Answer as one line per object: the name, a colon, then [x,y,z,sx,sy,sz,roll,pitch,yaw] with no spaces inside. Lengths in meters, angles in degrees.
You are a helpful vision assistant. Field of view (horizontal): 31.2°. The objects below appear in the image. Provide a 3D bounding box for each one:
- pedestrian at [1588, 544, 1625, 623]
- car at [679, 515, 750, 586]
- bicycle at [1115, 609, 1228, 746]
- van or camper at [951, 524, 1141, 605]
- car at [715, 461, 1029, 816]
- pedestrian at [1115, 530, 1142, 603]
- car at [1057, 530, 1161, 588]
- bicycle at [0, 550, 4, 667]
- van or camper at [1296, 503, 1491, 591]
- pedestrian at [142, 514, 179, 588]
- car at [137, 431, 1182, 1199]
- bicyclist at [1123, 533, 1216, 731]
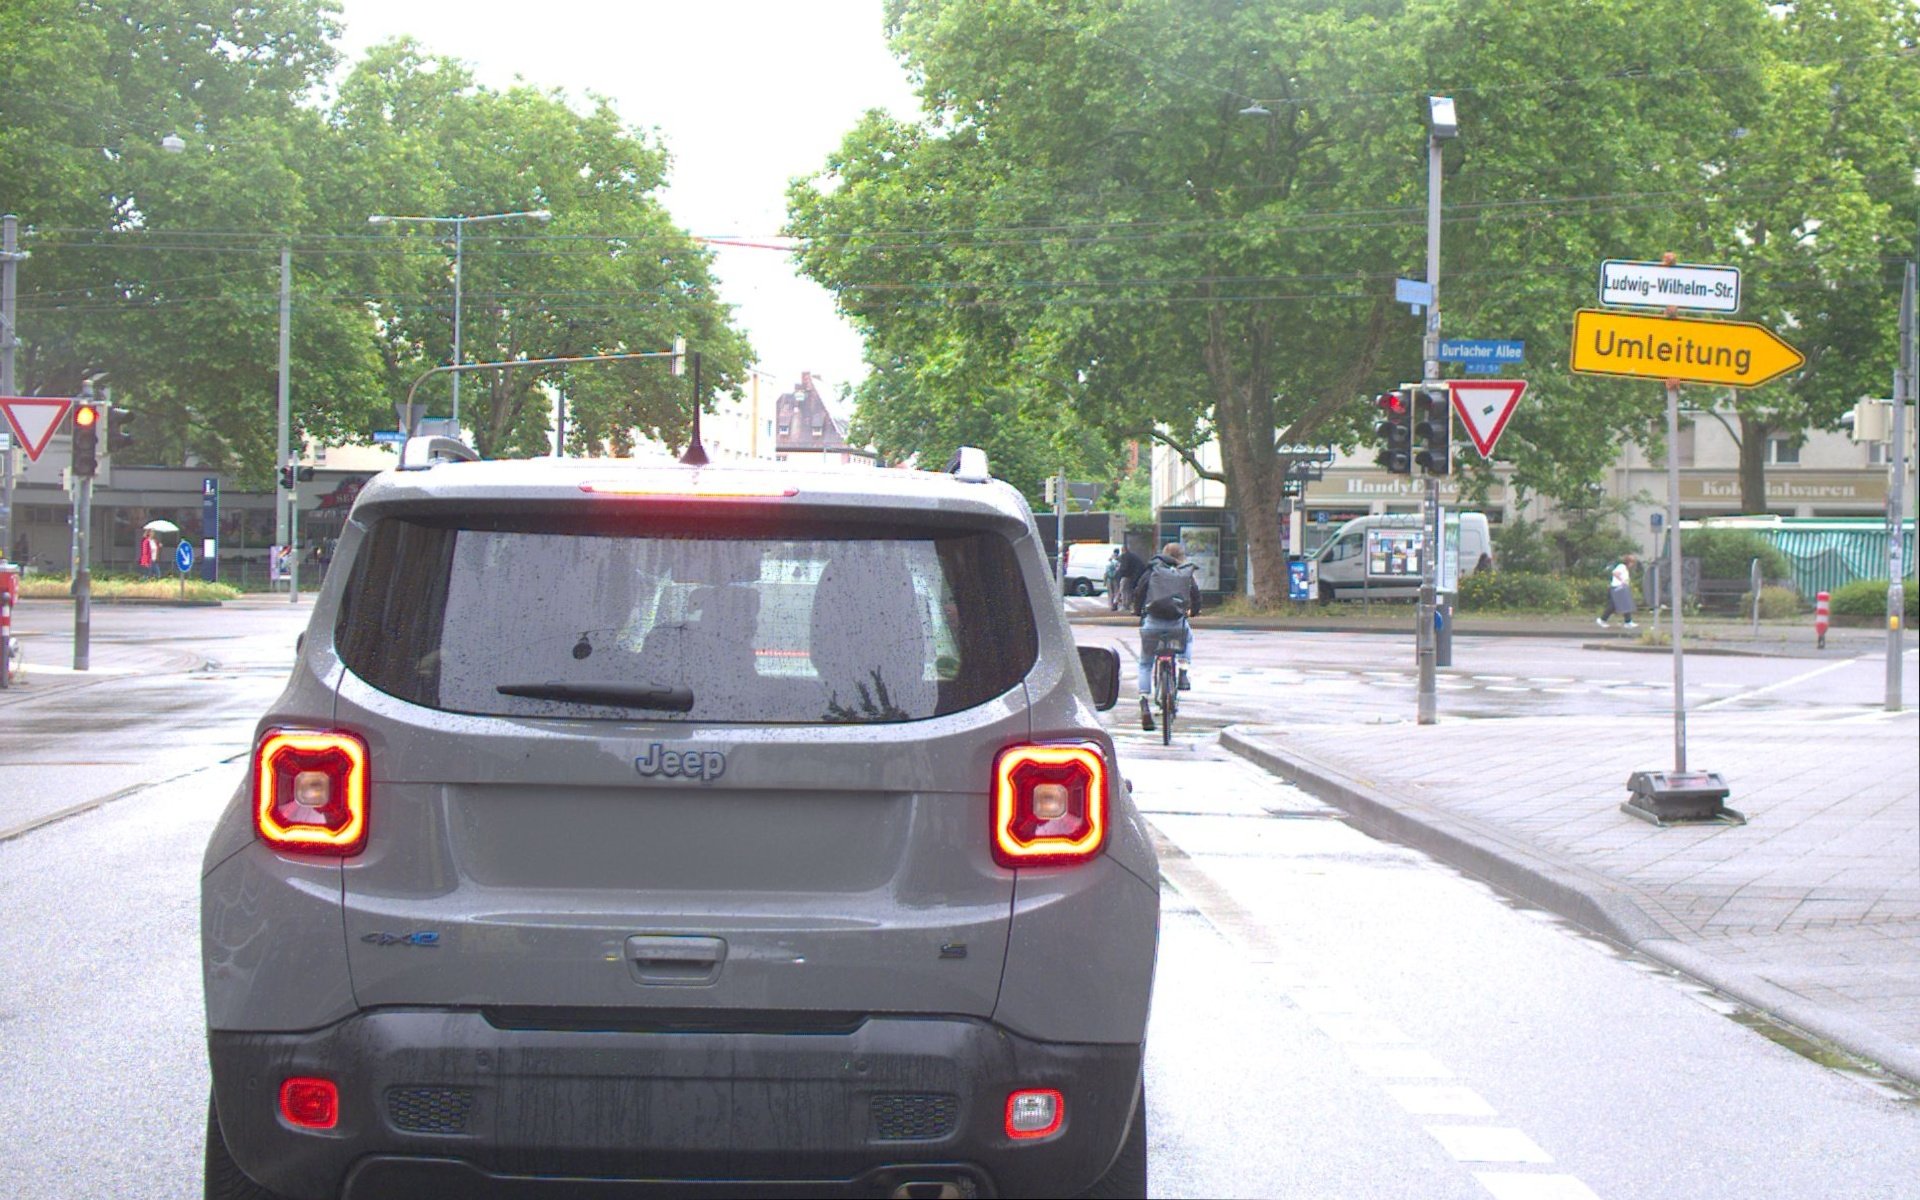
pedestrian: [13.127,-0.333,69.804,0.613,1.598,0.493,1,1,24]
car: [-6.208,-1.257,86.810,1.721,1.733,3.730,1,1,-4]
bicycle: [1.726,0.611,28.370,0.691,1.018,2.658,0,1,-2]
van or camper: [3.144,-1.332,126.395,6.536,2.902,2.491,1,1,26]
car: [-0.535,0.184,21.660,1.770,2.007,4.000,1,1,-1]
pedestrian: [4.637,-0.920,94.487,0.651,2.007,0.482,1,1,12]
car: [5.258,-1.434,121.326,3.438,2.007,1.547,0,0,13]
bicycle: [-11.222,0.085,36.870,1.763,1.262,0.608,0,1,-2]
van or camper: [12.132,-1.507,96.495,5.260,2.307,2.090,1,1,3]
pedestrian: [-19.568,-1.202,84.145,0.692,1.820,0.620,0,1,15]
car: [-0.559,0.517,7.795,1.775,1.681,3.848,0,1,-2]
bicyclist: [1.727,0.249,28.448,0.687,1.612,0.884,0,1,-2]
